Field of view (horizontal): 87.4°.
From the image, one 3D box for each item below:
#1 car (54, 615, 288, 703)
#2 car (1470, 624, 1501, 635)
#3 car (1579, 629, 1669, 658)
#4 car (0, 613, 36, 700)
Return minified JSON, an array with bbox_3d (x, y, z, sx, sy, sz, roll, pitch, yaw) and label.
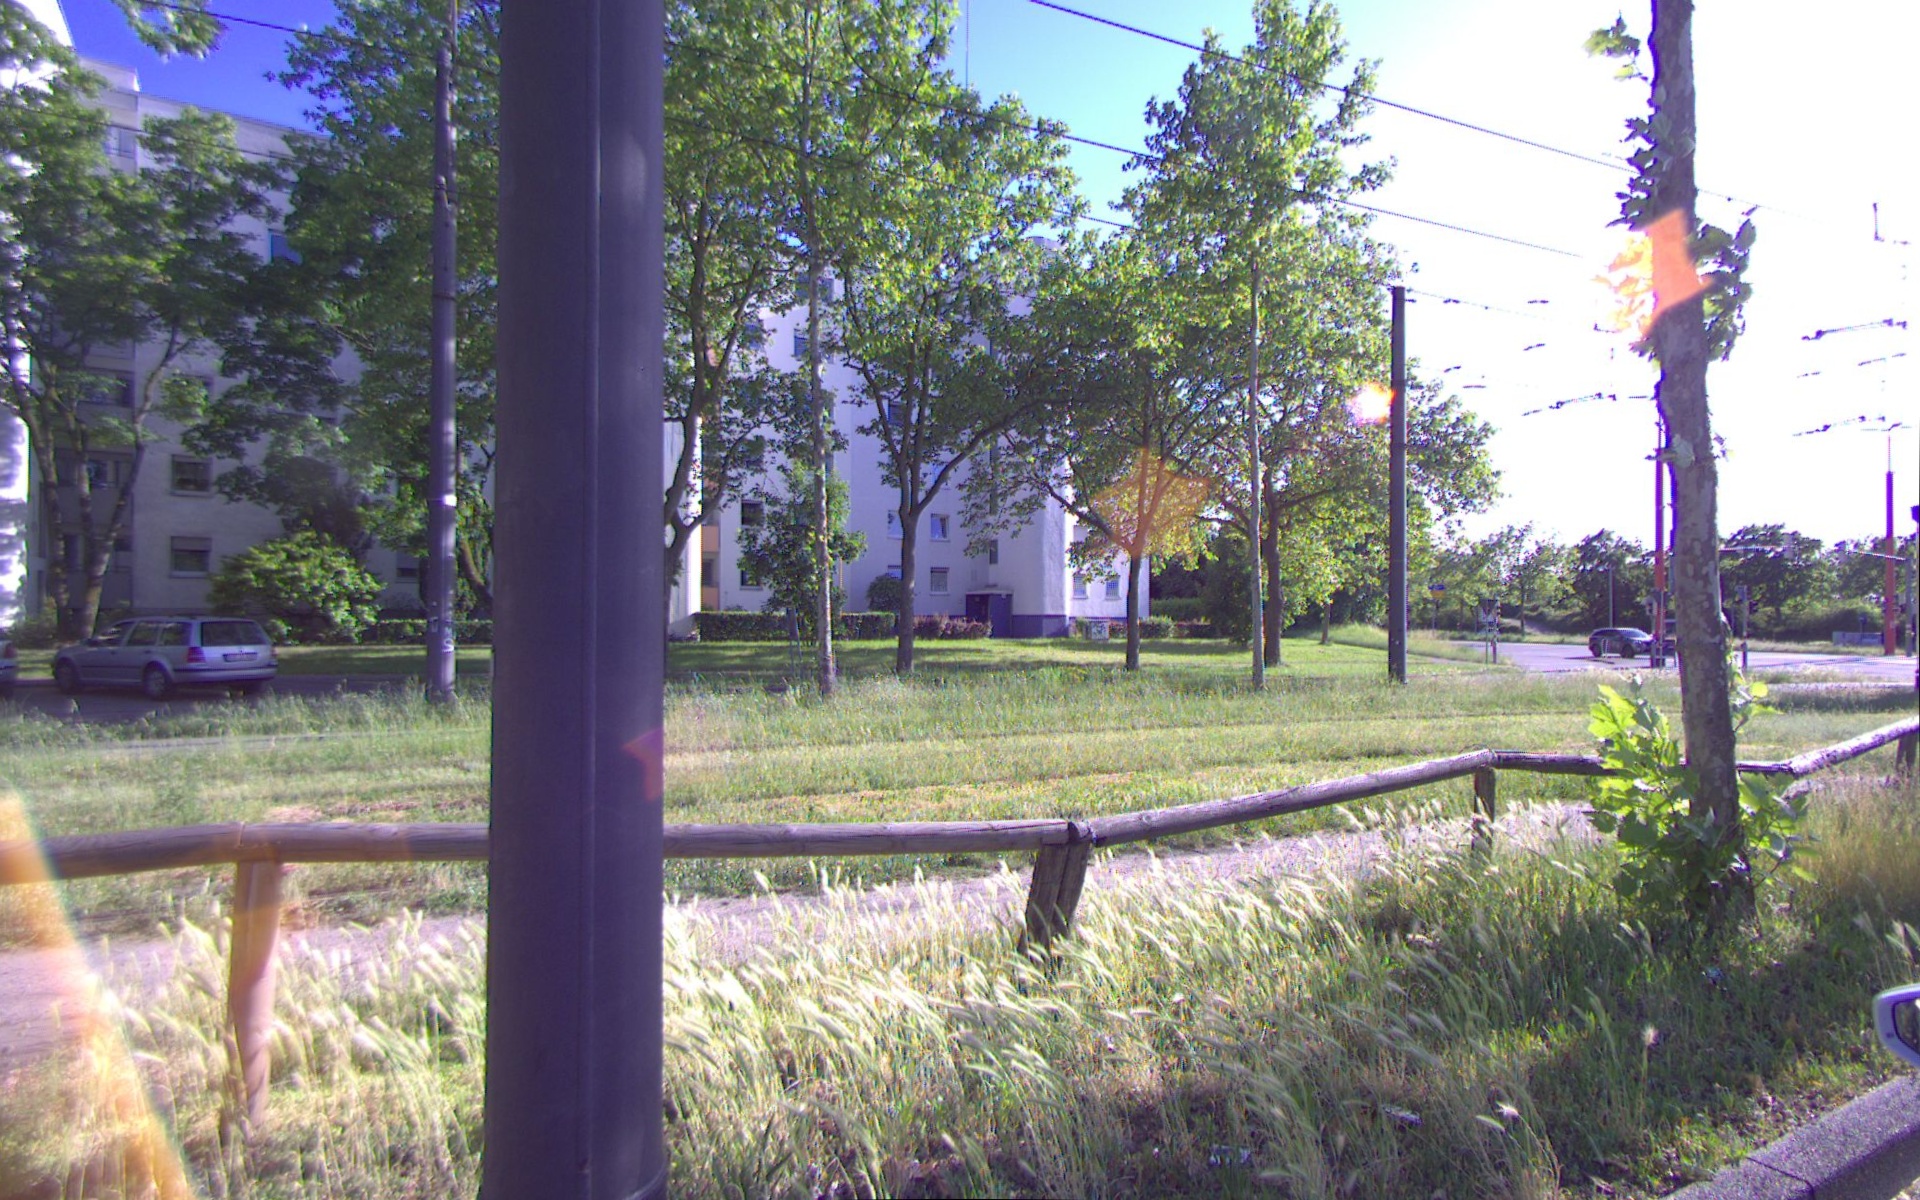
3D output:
[{"bbox_3d":[-14.489,1.026,18.480,3.609,1.452,1.732,0,-1,20],"label":"car"},{"bbox_3d":[62.353,3.477,119.201,1.630,1.327,3.815,1,-1,-1],"label":"car"},{"bbox_3d":[38.857,2.544,58.935,1.962,1.564,4.645,1,-1,-5],"label":"car"},{"bbox_3d":[-17.933,0.927,17.137,3.609,1.452,1.703,0,-1,20],"label":"car"}]
